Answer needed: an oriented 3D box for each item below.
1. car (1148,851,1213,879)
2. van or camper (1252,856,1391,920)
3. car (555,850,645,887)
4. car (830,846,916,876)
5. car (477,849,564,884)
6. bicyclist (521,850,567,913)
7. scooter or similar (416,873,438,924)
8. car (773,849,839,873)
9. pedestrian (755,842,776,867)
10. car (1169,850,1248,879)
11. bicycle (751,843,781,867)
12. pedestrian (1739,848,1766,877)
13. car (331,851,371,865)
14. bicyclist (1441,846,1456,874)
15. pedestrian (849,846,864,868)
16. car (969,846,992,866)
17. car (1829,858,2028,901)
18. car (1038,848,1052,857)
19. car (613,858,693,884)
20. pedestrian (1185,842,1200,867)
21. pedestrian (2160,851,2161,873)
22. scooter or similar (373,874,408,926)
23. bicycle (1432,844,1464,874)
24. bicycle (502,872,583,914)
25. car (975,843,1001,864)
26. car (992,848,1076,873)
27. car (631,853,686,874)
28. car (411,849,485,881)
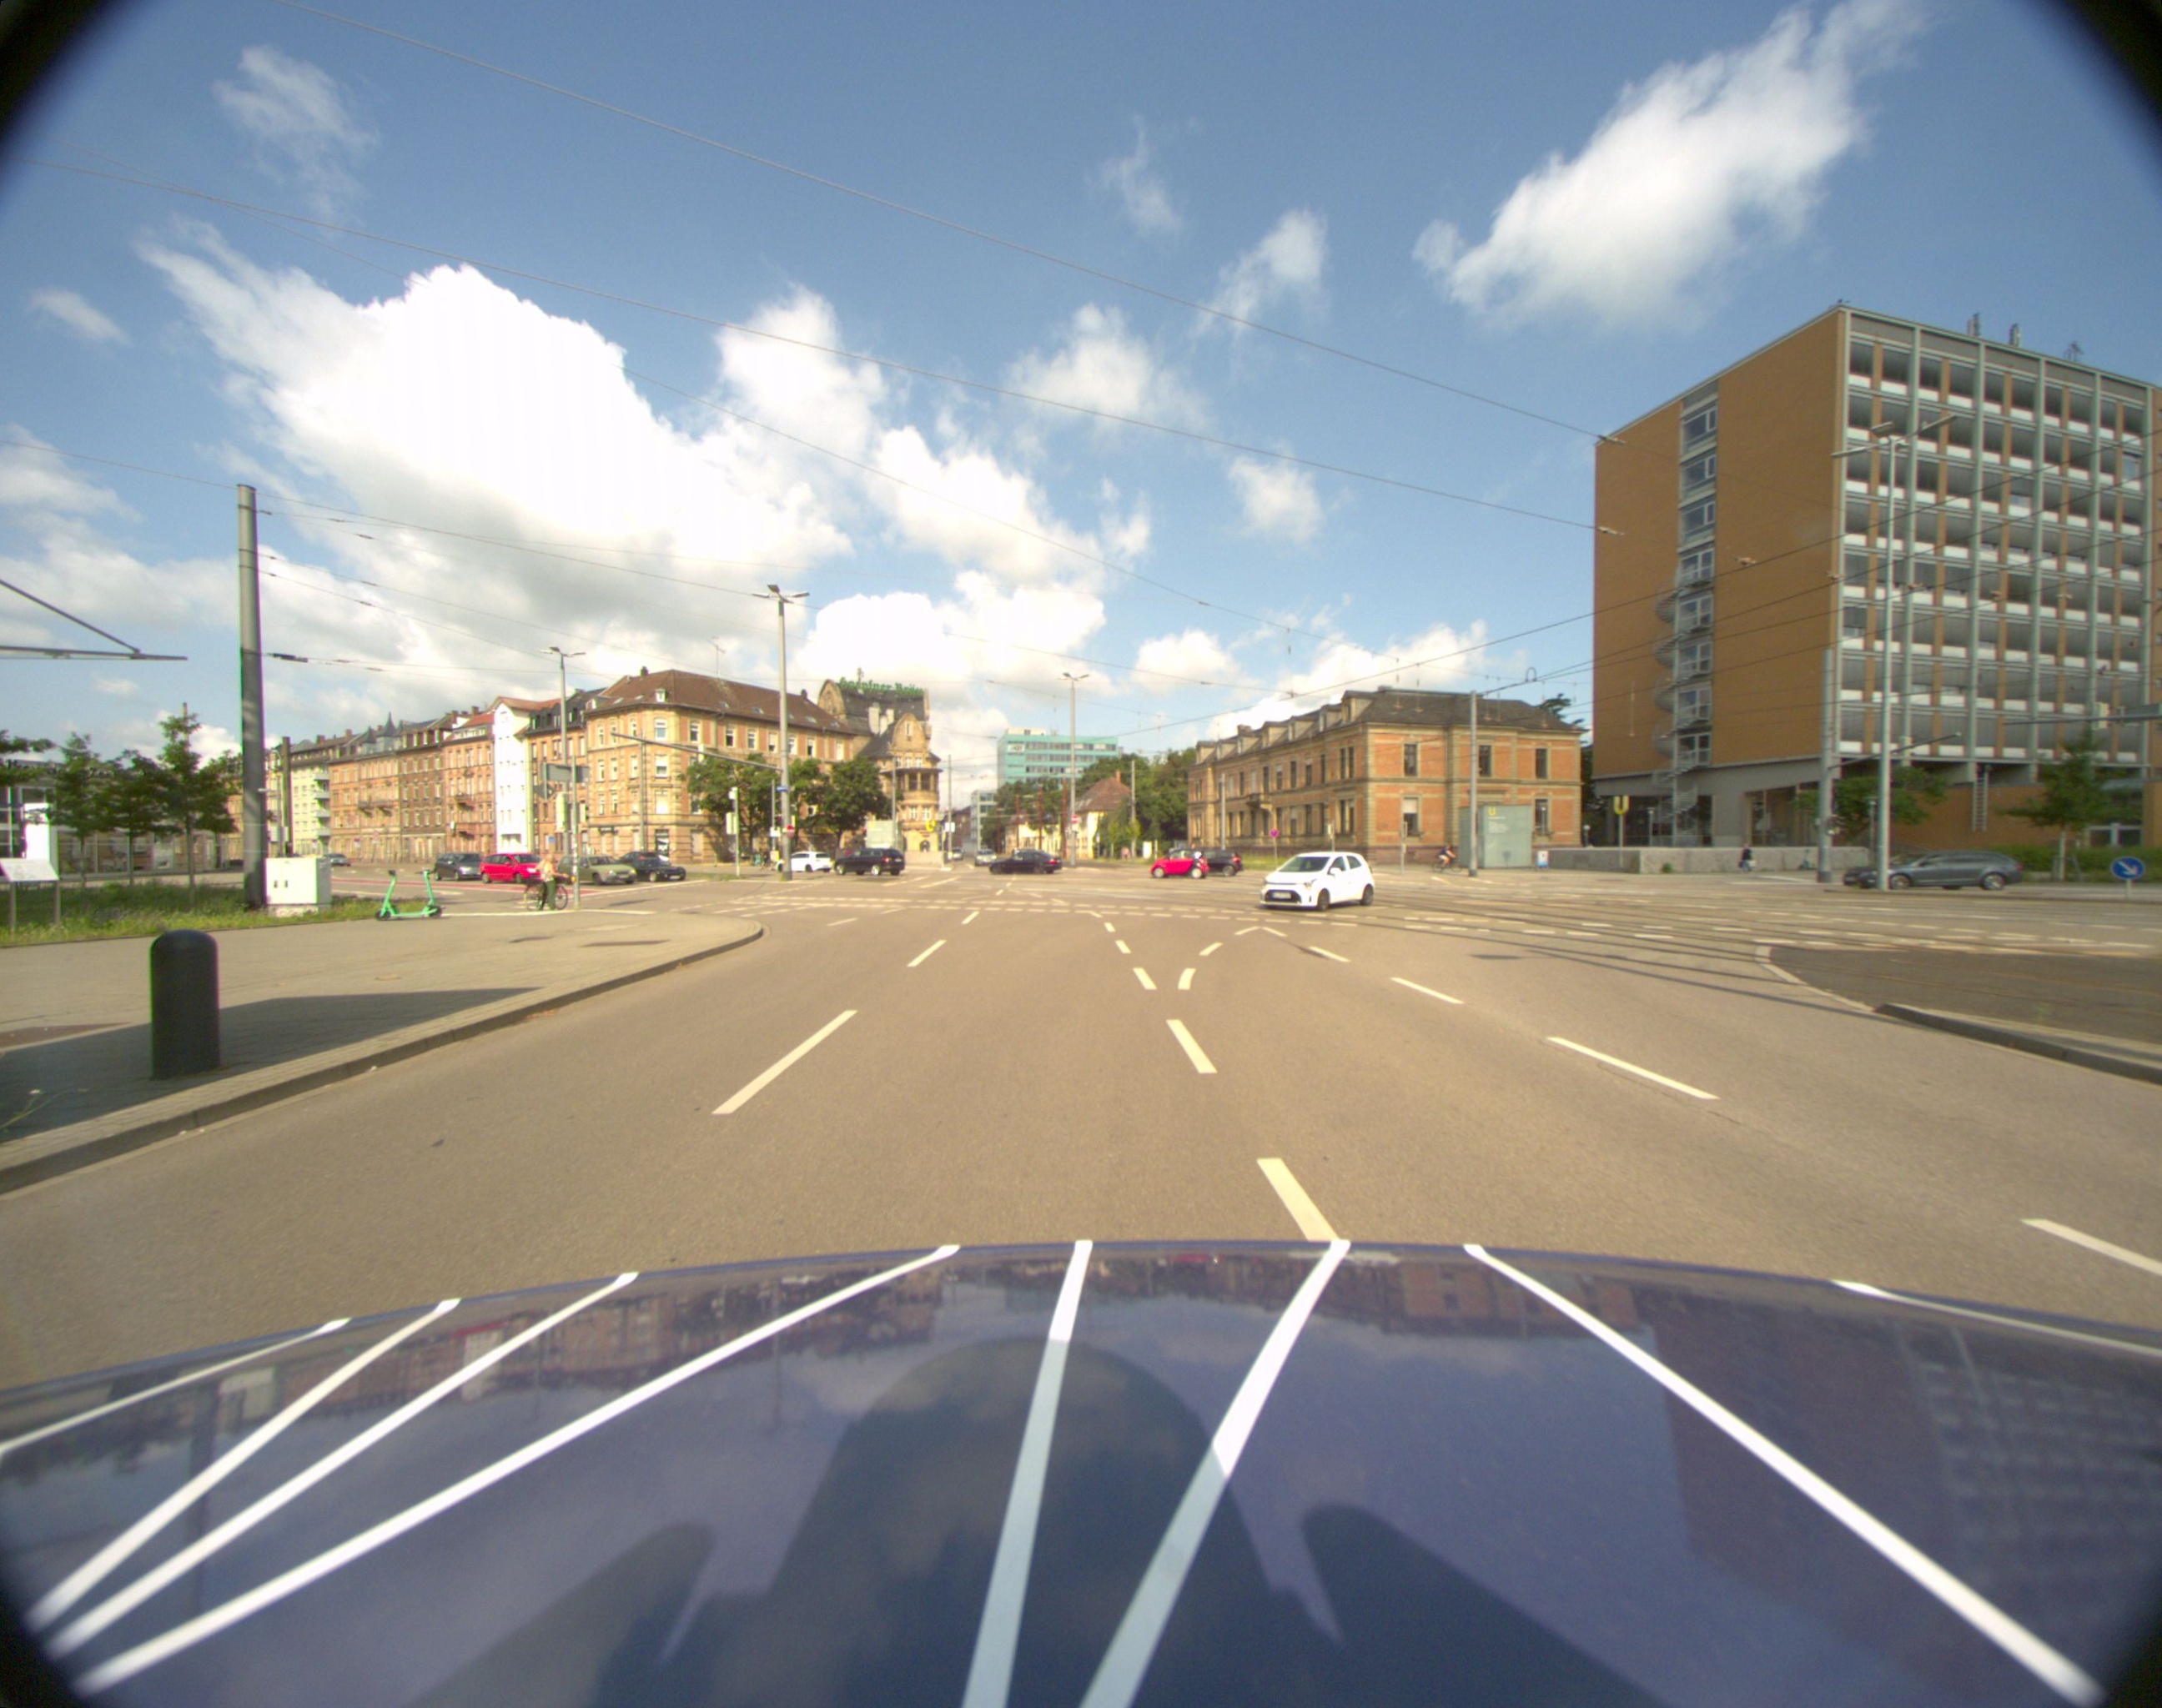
[{"bbox_3d":[5.023,0.544,38.144,3.005,1.207,1.611,-2,2,15],"label":"car"},{"bbox_3d":[6.458,0.833,20.198,4.008,1.467,1.624,-1,0,-40],"label":"van or camper"},{"bbox_3d":[-22.366,0.658,35.313,3.989,1.505,1.829,0,4,31],"label":"car"},{"bbox_3d":[-12.371,0.368,45.256,4.672,1.659,2.003,0,2,23],"label":"car"},{"bbox_3d":[-27.778,0.591,37.634,3.989,1.511,2.003,0,4,31],"label":"car"},{"bbox_3d":[-15.361,0.790,21.749,0.711,1.734,0.829,-1,-2,6],"label":"bicyclist"},{"bbox_3d":[-15.610,1.045,18.150,0.382,1.151,0.927,0,0,-40],"label":"scooter or similar"},{"bbox_3d":[-18.936,0.488,52.280,4.222,1.438,1.687,-2,1,26],"label":"car"},{"bbox_3d":[-24.116,0.033,58.056,0.993,1.831,0.997,1,4,39],"label":"pedestrian"},{"bbox_3d":[7.017,0.574,41.806,3.991,1.446,1.716,-1,2,21],"label":"car"},{"bbox_3d":[-24.113,0.086,58.088,2.461,1.716,1.010,0,4,40],"label":"bicycle"},{"bbox_3d":[36.641,0.461,41.460,0.764,1.579,0.773,0,1,9],"label":"pedestrian"},{"bbox_3d":[-76.027,0.389,79.132,3.989,1.324,2.004,0,1,31],"label":"car"},{"bbox_3d":[22.550,0.367,46.649,0.654,1.661,0.575,1,2,42],"label":"bicyclist"},{"bbox_3d":[-16.609,0.216,56.193,0.707,1.633,0.797,0,1,18],"label":"pedestrian"},{"bbox_3d":[-10.561,0.181,79.375,2.000,1.588,4.676,-3,5,-11],"label":"car"},{"bbox_3d":[30.613,0.907,27.618,4.537,1.274,2.000,-2,3,11],"label":"car"},{"bbox_3d":[-6.301,-0.284,132.272,1.757,1.521,3.994,-1,2,-11],"label":"car"},{"bbox_3d":[-21.256,0.826,37.672,3.989,1.155,1.629,0,4,31],"label":"car"},{"bbox_3d":[7.933,0.043,54.131,0.785,1.727,0.858,-1,1,-22],"label":"pedestrian"},{"bbox_3d":[52.876,-0.044,36.592,0.805,2.004,0.725,2,9,42],"label":"pedestrian"},{"bbox_3d":[-16.073,1.047,17.699,0.382,1.151,0.927,0,0,-28],"label":"scooter or similar"},{"bbox_3d":[22.522,0.297,46.629,1.632,1.767,0.733,1,2,41],"label":"bicycle"},{"bbox_3d":[-15.346,1.088,21.735,0.788,1.120,1.993,-1,-1,5],"label":"bicycle"},{"bbox_3d":[-8.951,-0.040,72.797,2.000,1.730,4.334,-3,3,-11],"label":"car"},{"bbox_3d":[-2.769,0.370,44.829,4.499,1.390,2.002,0,2,17],"label":"car"},{"bbox_3d":[-32.306,0.695,58.082,4.244,1.520,1.776,0,3,31],"label":"car"},{"bbox_3d":[-34.770,0.589,41.729,3.988,1.544,2.003,0,4,34],"label":"car"}]
